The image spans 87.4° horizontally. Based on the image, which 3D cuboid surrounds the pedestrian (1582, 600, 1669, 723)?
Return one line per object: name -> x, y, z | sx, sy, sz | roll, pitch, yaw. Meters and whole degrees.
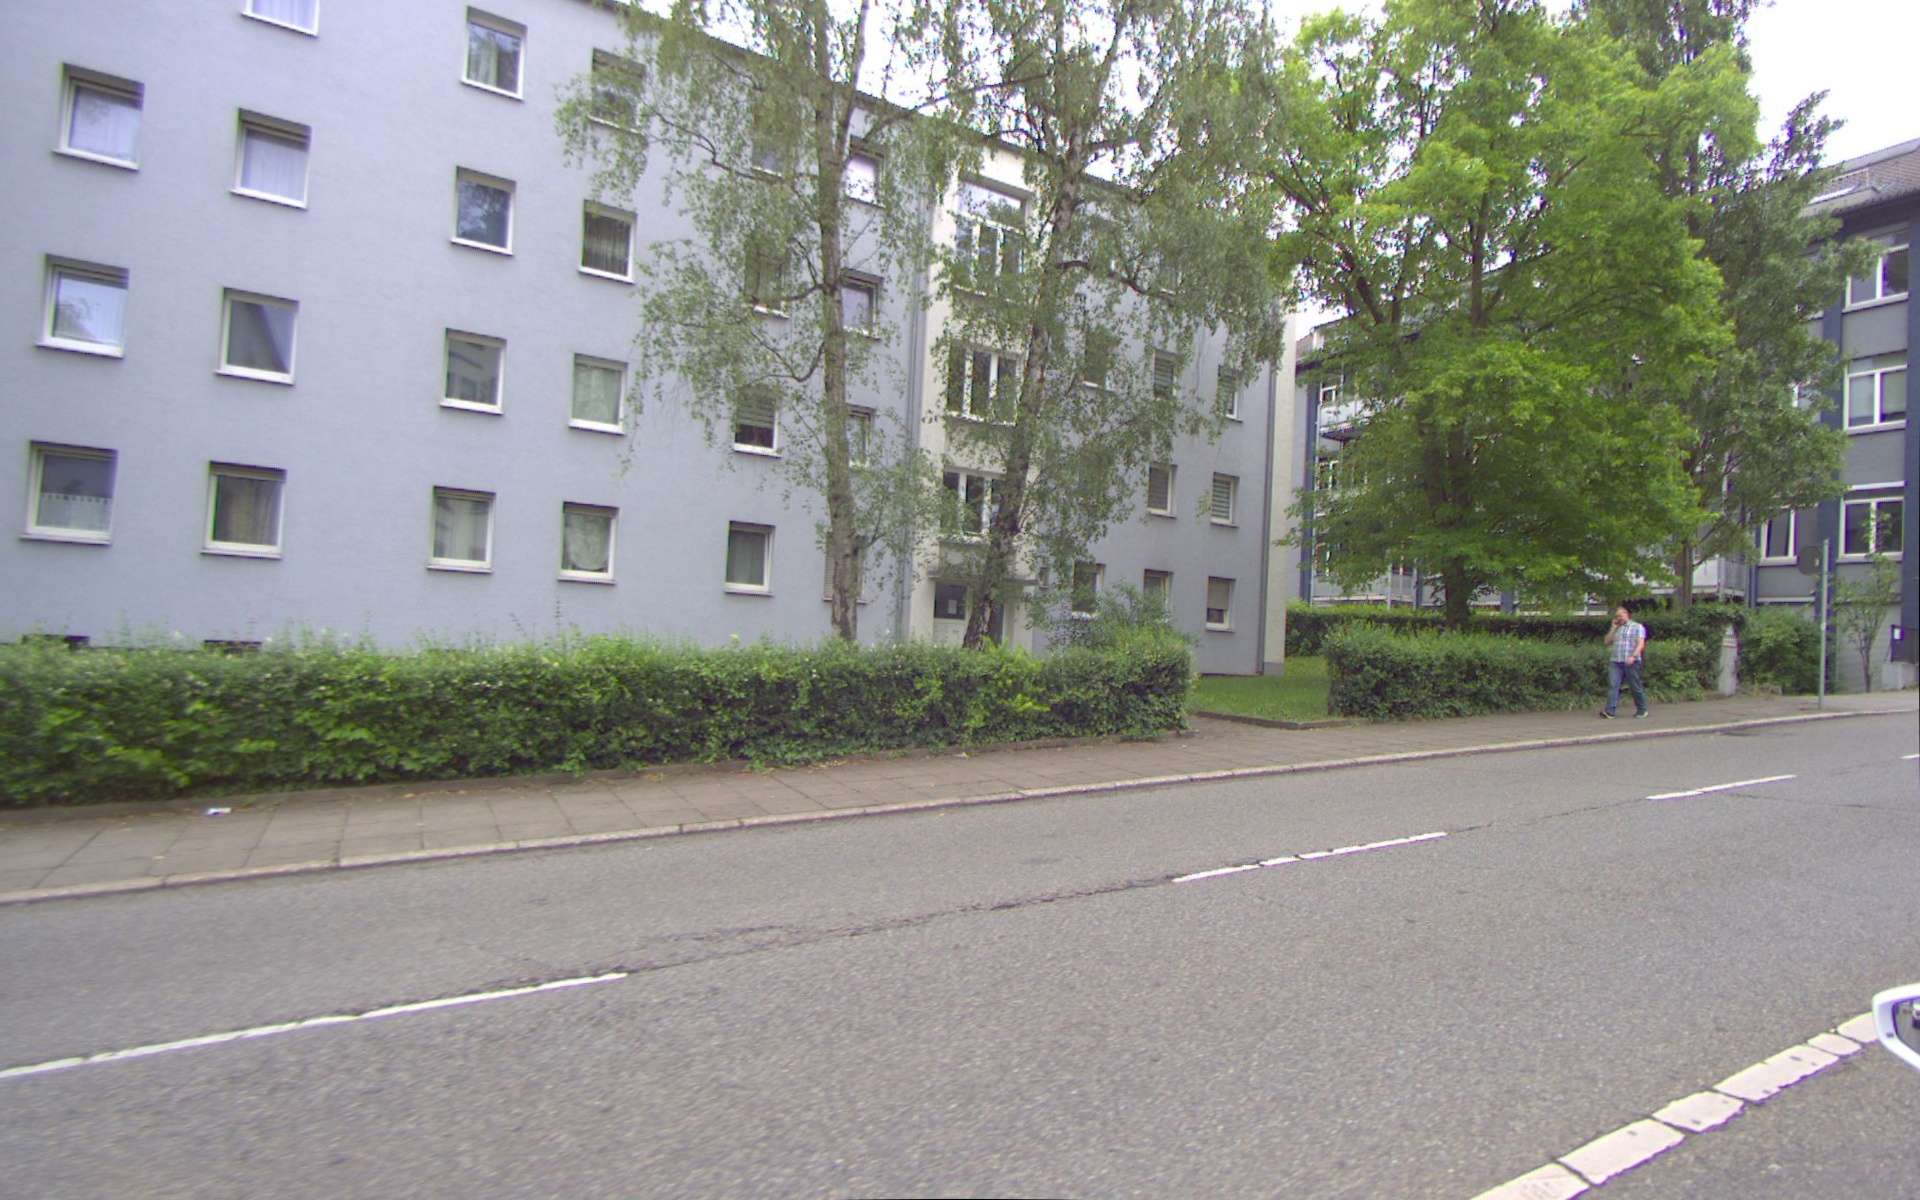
pedestrian -> 11.160, 0.999, 16.852 | 0.857, 1.976, 0.878 | 0, 1, -30
